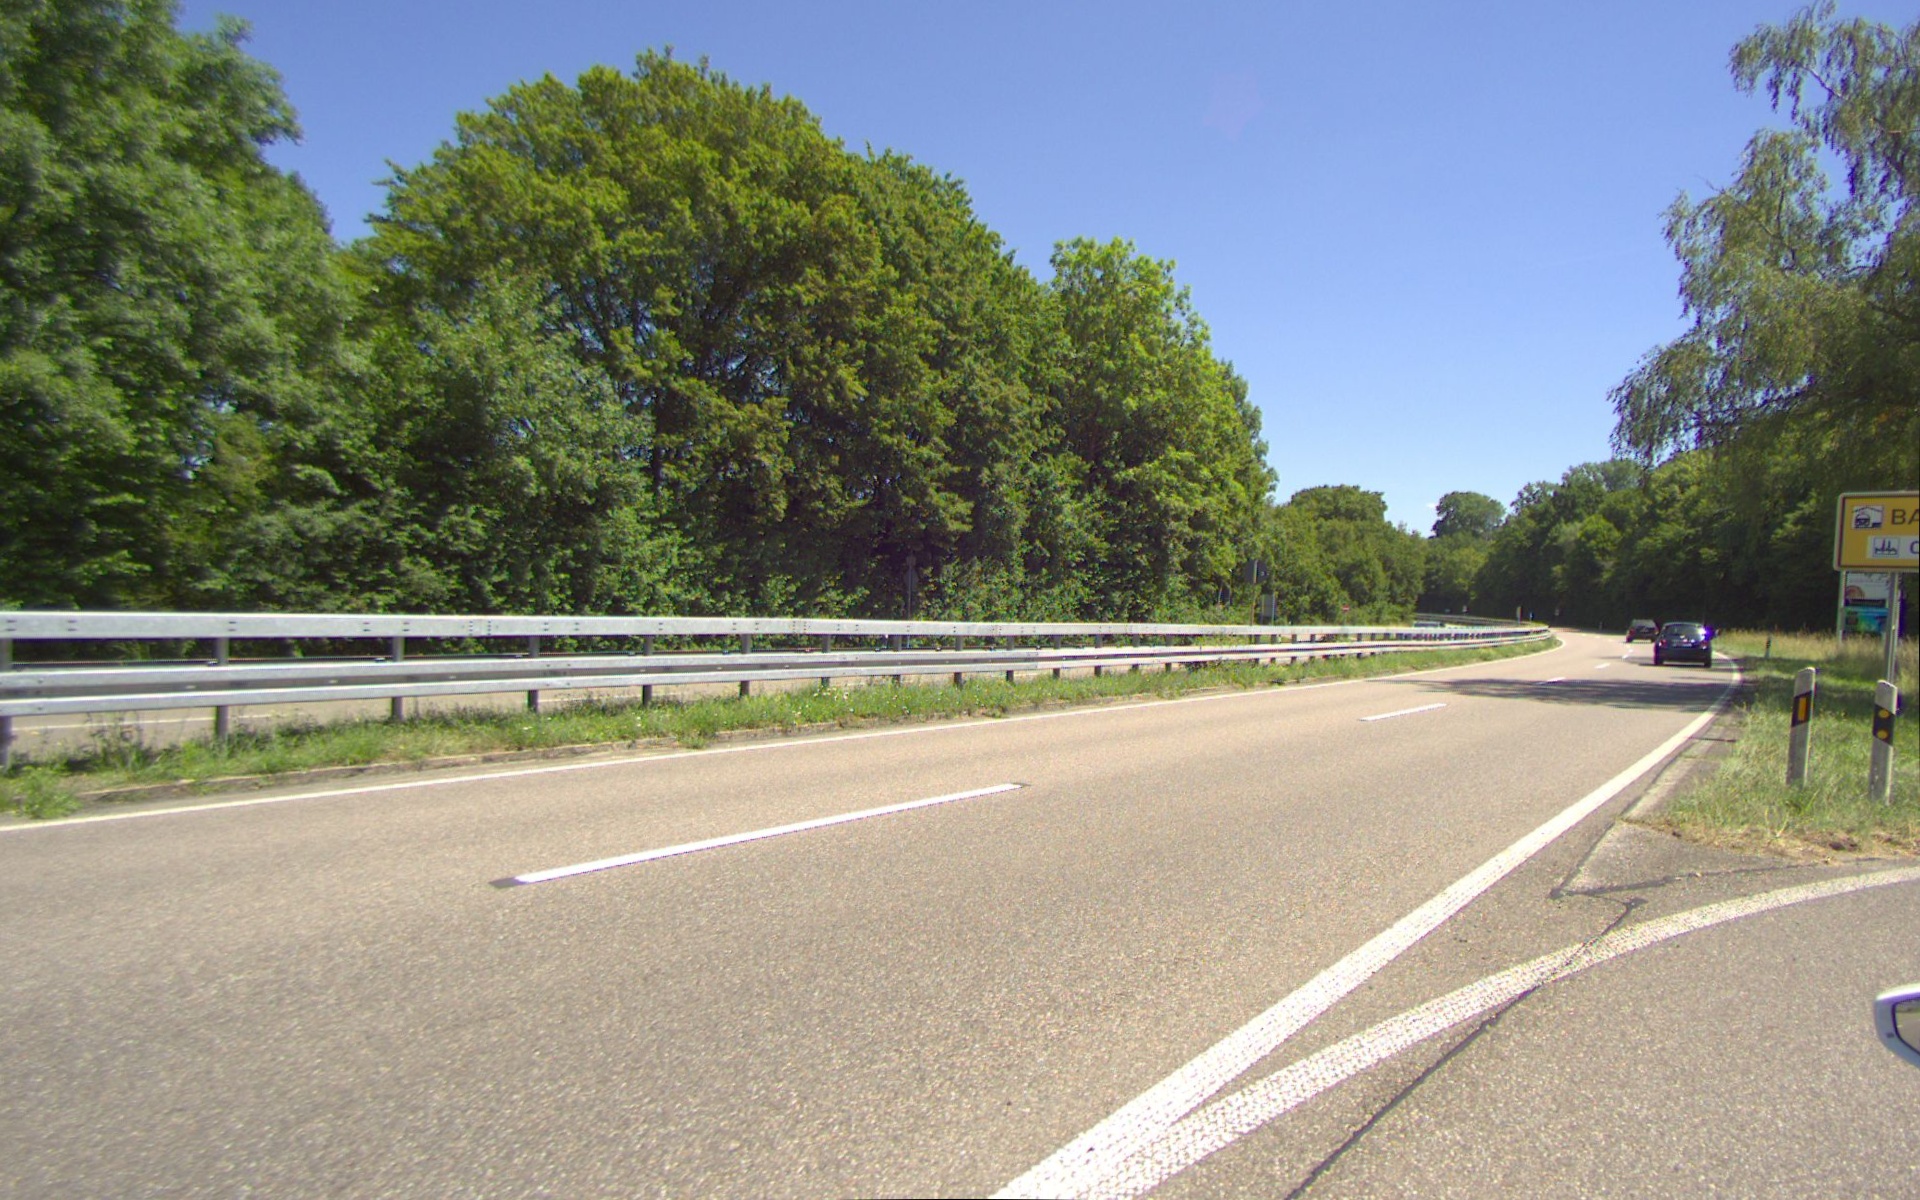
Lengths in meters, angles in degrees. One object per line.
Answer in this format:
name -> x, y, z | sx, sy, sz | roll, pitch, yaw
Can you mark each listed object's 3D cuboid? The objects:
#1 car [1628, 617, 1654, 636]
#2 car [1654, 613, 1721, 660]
car -> 50.550, 1.997, 74.568 | 1.505, 1.331, 3.403 | 1, -1, 36
car -> 25.321, 1.268, 34.907 | 1.497, 1.521, 3.570 | 1, -1, 42
